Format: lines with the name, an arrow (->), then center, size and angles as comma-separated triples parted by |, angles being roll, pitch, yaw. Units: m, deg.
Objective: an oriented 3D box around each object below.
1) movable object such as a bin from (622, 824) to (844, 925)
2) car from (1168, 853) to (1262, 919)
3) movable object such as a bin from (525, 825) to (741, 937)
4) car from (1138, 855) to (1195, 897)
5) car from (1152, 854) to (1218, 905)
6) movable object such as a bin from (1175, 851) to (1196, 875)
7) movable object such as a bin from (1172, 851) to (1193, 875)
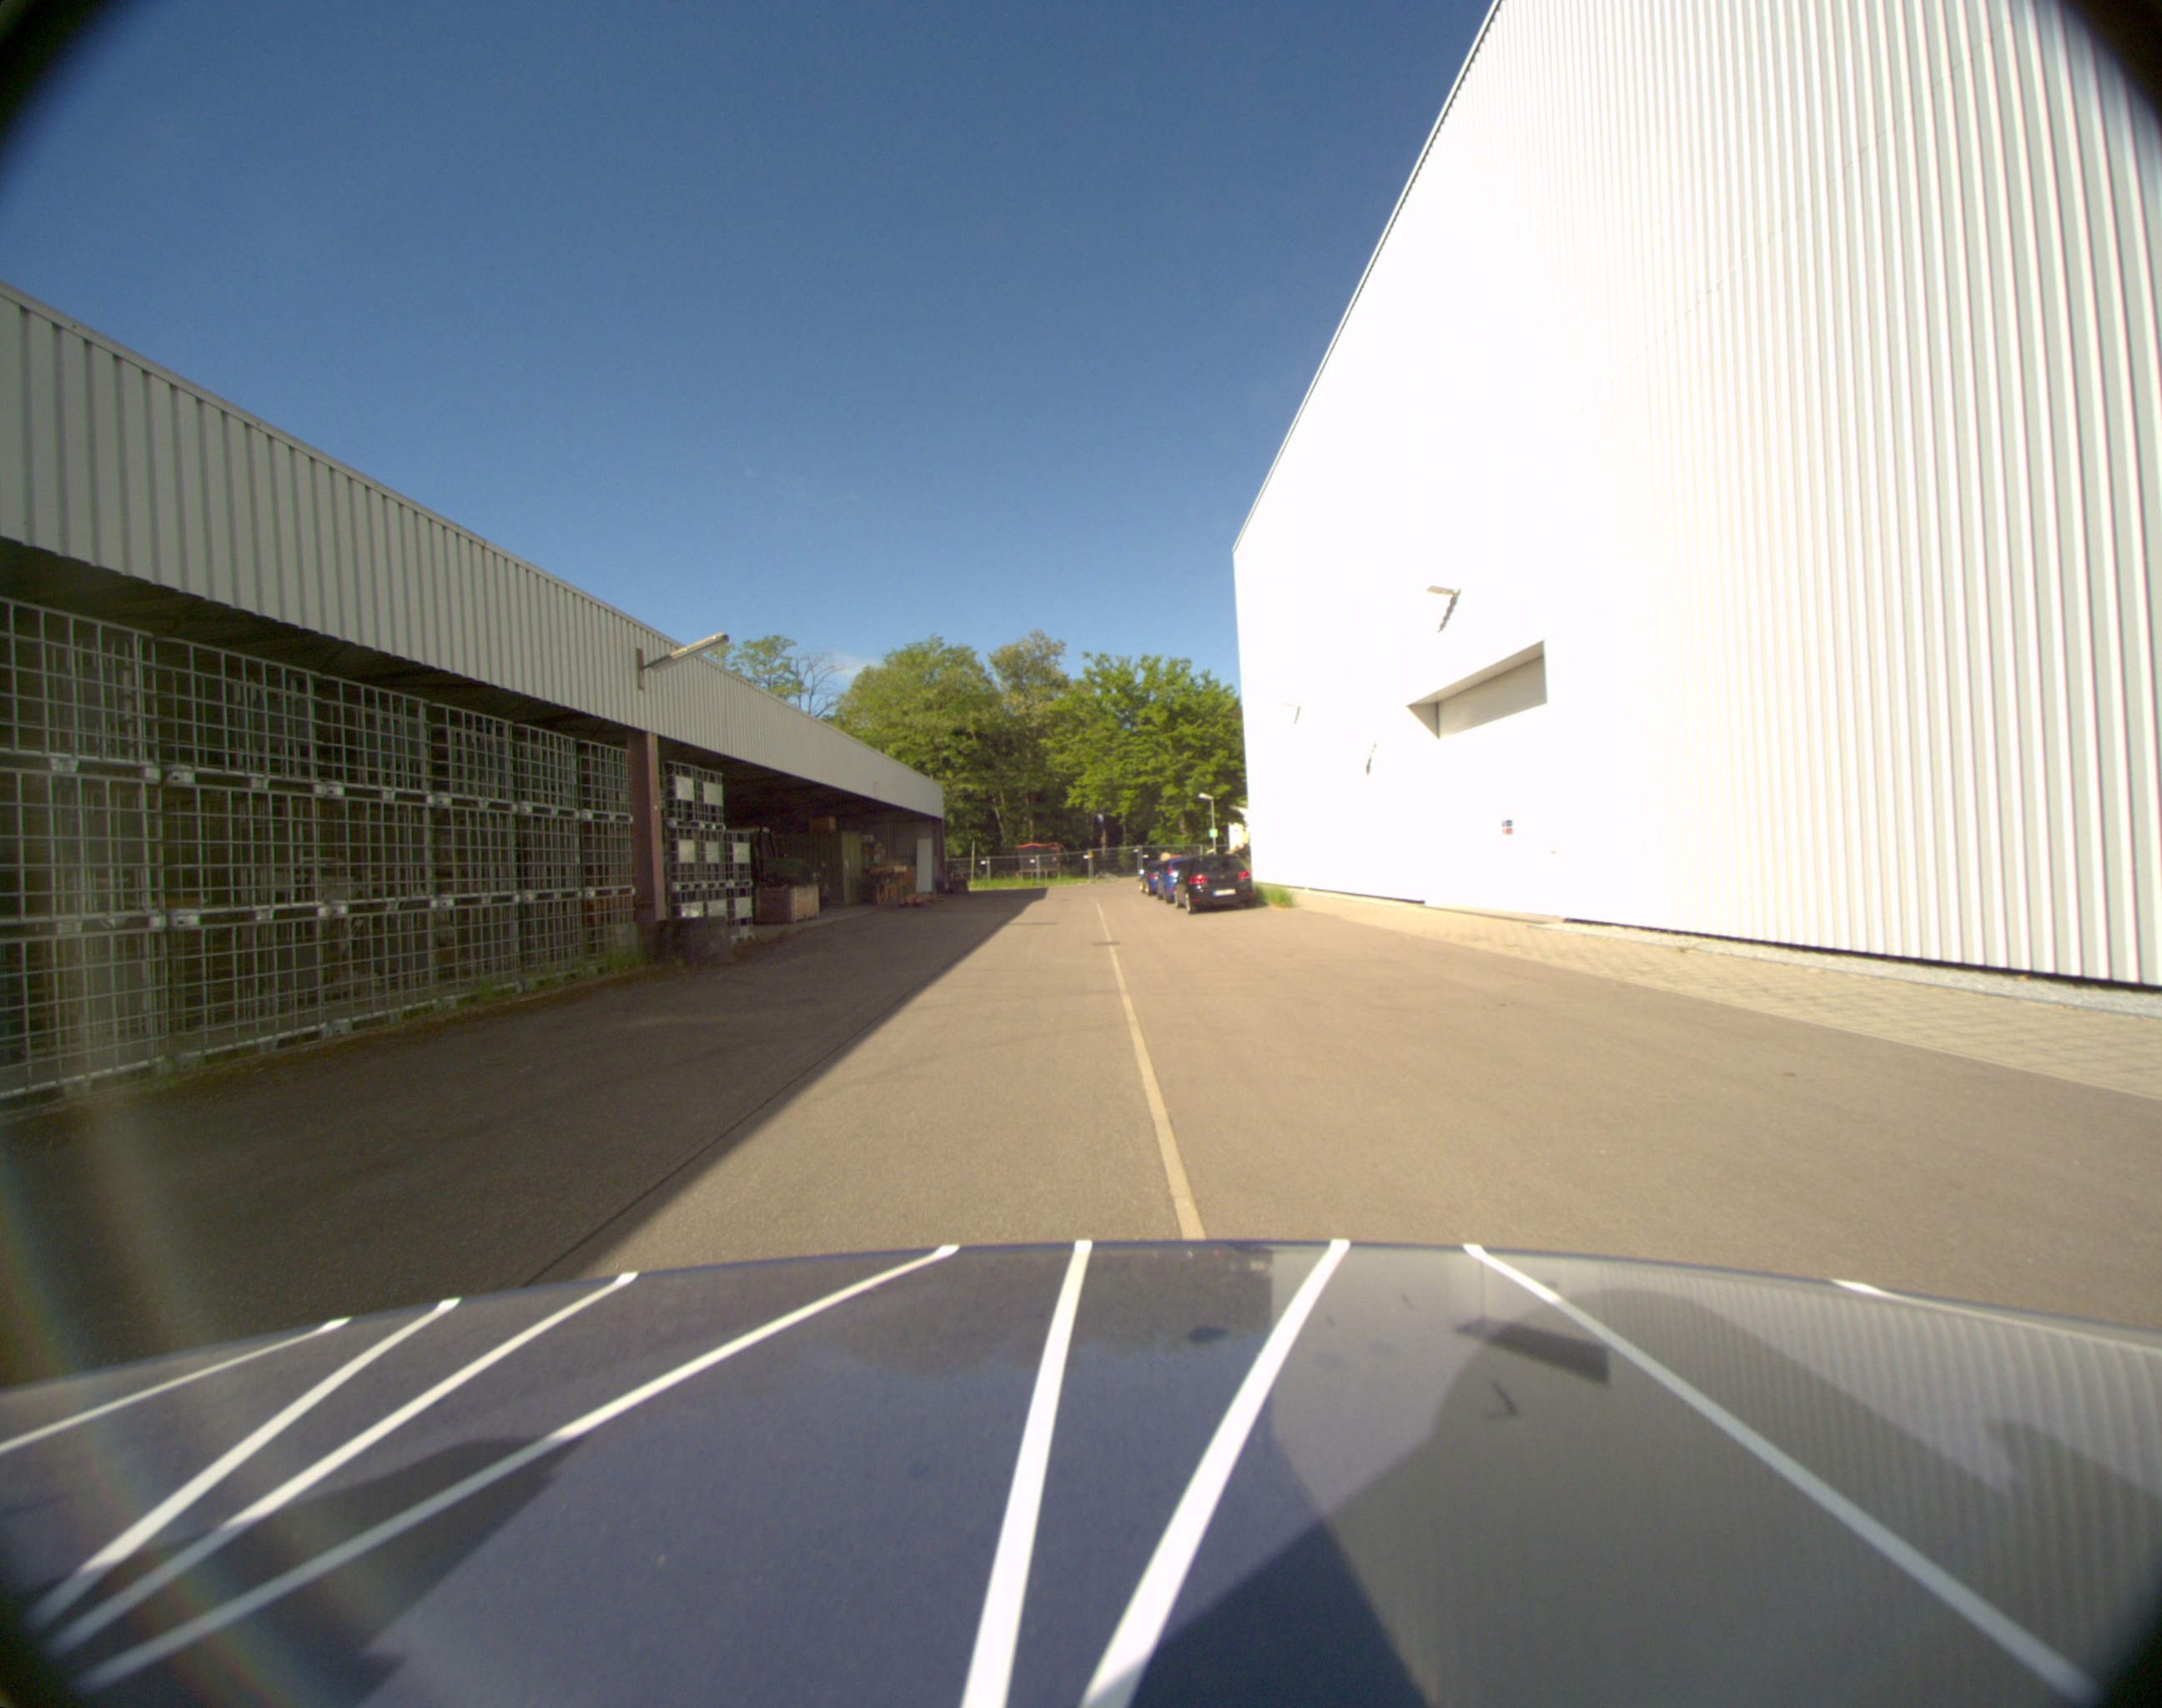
movable object such as a bin -> -11.186, 0.640, 24.866 | 5.848, 2.908, 2.820 | -2, 0, 1
car -> 3.529, 0.811, 20.763 | 1.760, 1.437, 4.315 | -6, -1, 1
movable object such as a bin -> -12.558, 0.729, 21.601 | 4.537, 2.814, 2.497 | -2, 0, 1
car -> 3.413, 0.870, 31.020 | 1.716, 1.440, 3.798 | -5, -1, -1
car -> 3.426, 0.830, 25.508 | 1.552, 1.479, 3.522 | -5, -1, -1
movable object such as a bin -> 6.412, 0.561, 46.750 | 1.141, 1.426, 1.289 | -1, 0, 1
movable object such as a bin -> 6.439, 0.569, 48.114 | 1.141, 1.469, 1.280 | -1, -1, 1
